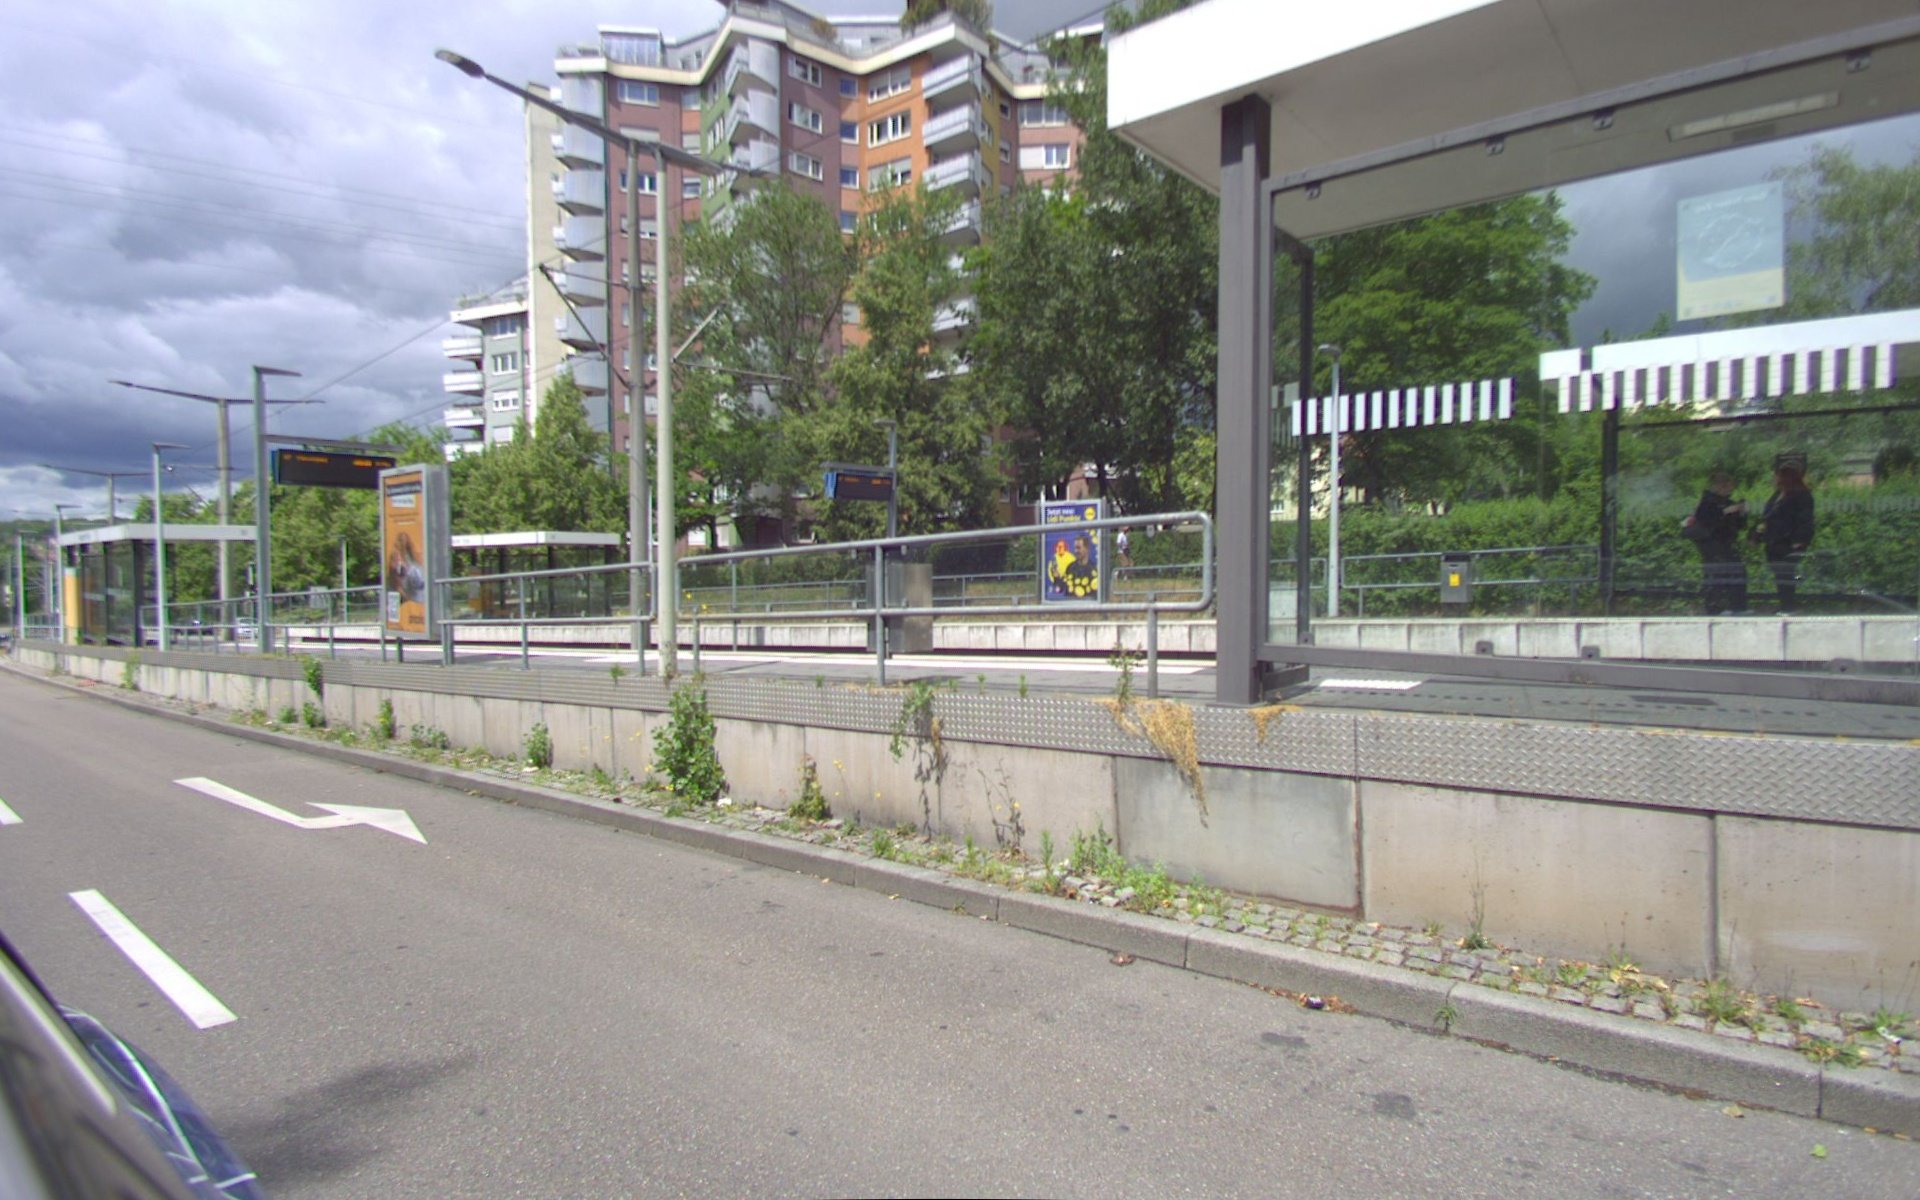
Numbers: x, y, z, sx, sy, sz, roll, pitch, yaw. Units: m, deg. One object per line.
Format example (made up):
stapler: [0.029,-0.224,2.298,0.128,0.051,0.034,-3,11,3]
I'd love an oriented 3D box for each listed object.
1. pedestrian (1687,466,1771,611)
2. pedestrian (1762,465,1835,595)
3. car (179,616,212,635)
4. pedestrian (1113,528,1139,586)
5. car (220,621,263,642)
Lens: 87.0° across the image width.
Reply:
pedestrian: [9.030,-0.702,11.902,0.558,1.657,0.520,-1,-1,8]
pedestrian: [9.324,-0.762,11.267,0.520,1.390,0.537,2,1,32]
car: [-63.290,2.121,83.741,3.739,1.524,1.636,-2,-1,45]
pedestrian: [5.086,-1.312,30.961,0.504,1.725,0.643,-2,-1,41]
car: [-51.332,2.264,72.240,3.998,1.429,1.637,-2,-1,41]
